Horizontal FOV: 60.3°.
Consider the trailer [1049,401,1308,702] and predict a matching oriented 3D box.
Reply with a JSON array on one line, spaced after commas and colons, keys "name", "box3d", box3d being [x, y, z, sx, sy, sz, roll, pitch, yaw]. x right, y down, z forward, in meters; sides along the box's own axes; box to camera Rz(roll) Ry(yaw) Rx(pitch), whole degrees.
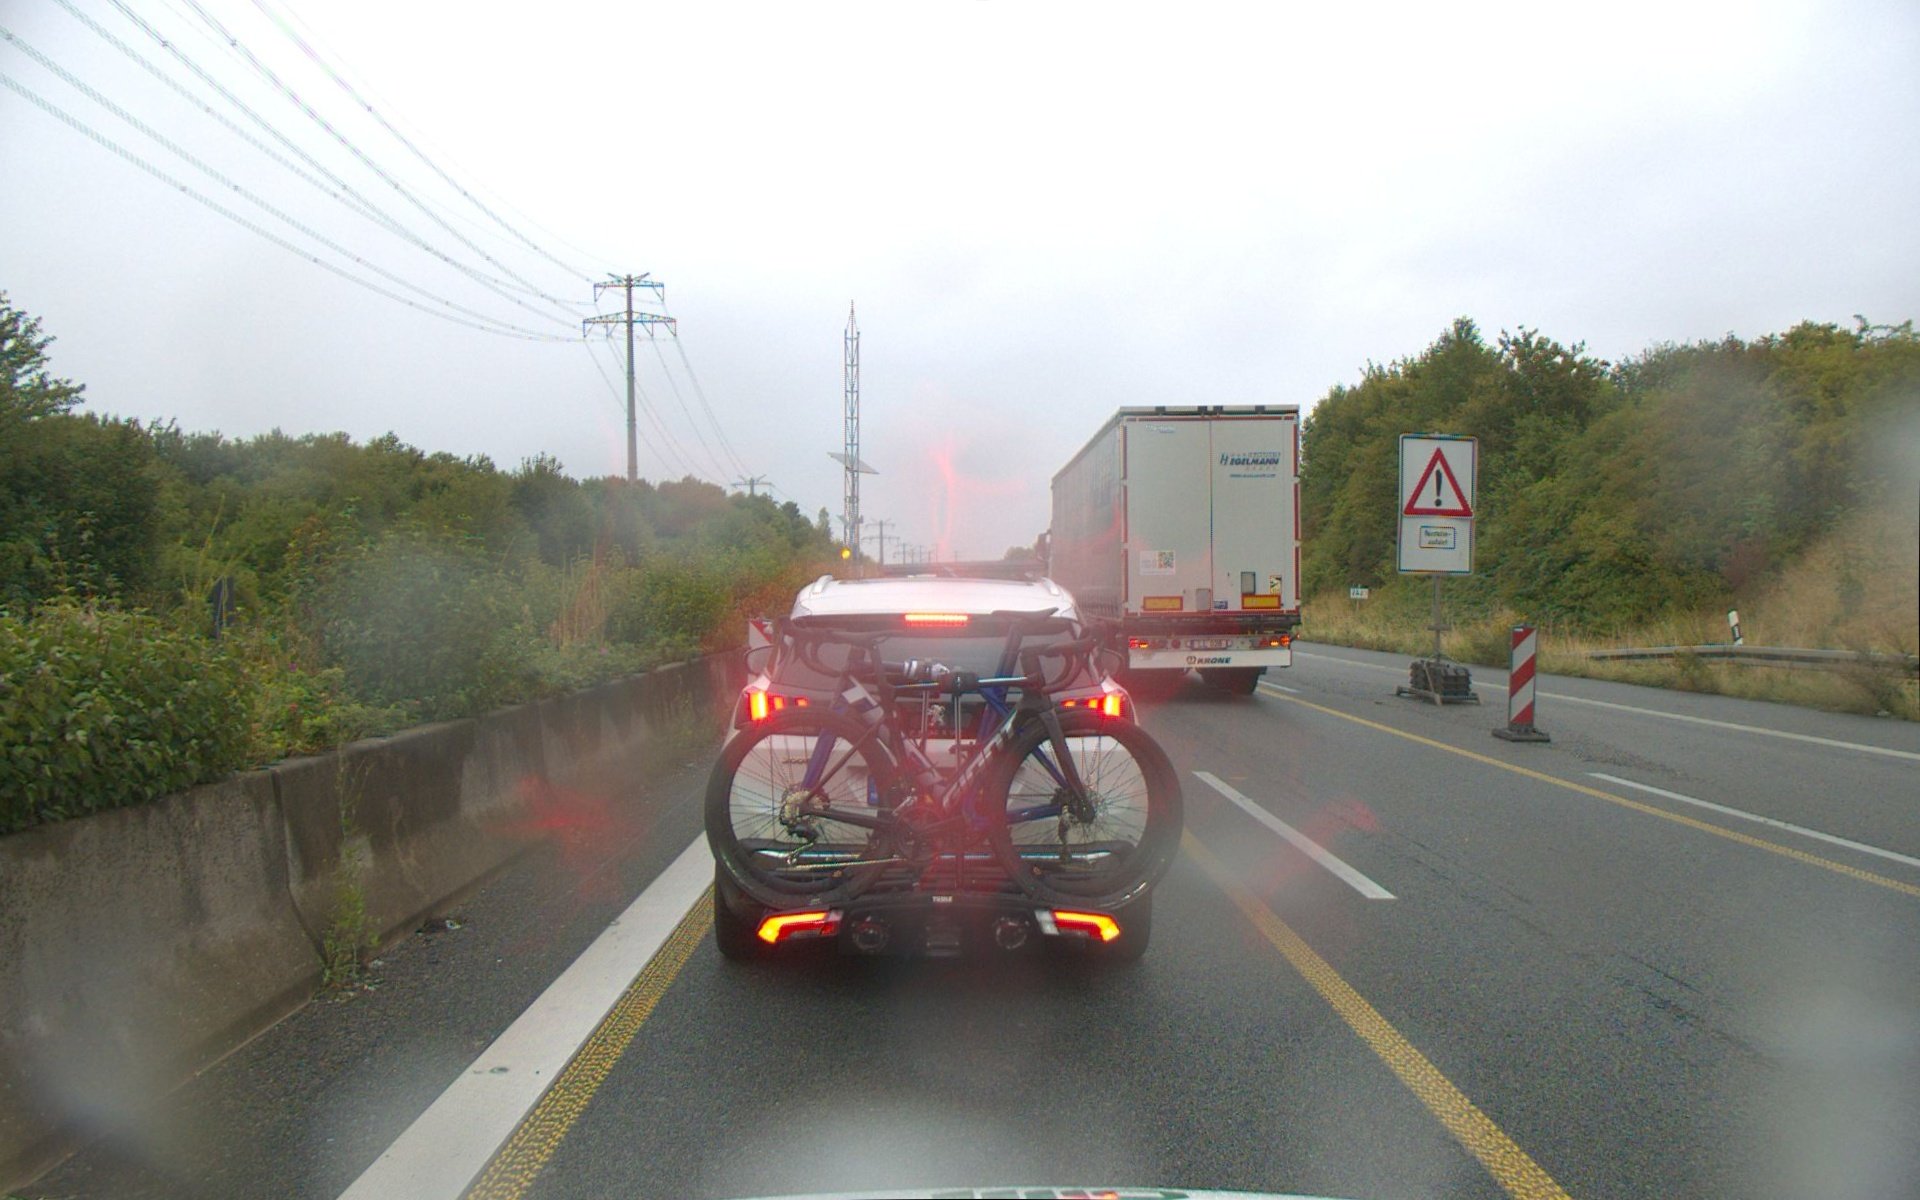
[{"name": "trailer", "box3d": [3.379, -0.699, 29.633, 2.638, 4.148, 13.631, 0, 0, -1]}]

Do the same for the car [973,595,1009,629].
[{"name": "car", "box3d": [1.925, 0.746, 103.313, 2.104, 2.008, 4.000, 0, 1, -1]}]

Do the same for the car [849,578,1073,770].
[{"name": "car", "box3d": [-0.022, 0.593, 15.425, 1.812, 1.557, 3.999, 0, 0, -1]}]

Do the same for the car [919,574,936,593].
[{"name": "car", "box3d": [-3.628, -1.873, 187.412, 1.892, 2.008, 4.000, 0, 1, -1]}]

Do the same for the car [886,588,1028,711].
[{"name": "car", "box3d": [-0.069, 0.626, 23.198, 1.812, 1.557, 3.999, 0, 0, -1]}]

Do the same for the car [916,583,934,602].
[{"name": "car", "box3d": [-3.839, -0.862, 182.028, 1.892, 2.008, 4.000, 0, 1, -1]}]

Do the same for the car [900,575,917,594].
[{"name": "car", "box3d": [-6.849, -2.064, 221.737, 2.212, 2.467, 4.000, 0, 1, -1]}]

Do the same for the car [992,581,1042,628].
[{"name": "car", "box3d": [2.558, 0.161, 74.726, 2.067, 2.008, 4.000, 0, 1, -1]}]

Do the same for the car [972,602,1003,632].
[{"name": "car", "box3d": [1.973, 1.227, 118.855, 2.104, 2.008, 4.000, 0, 1, -1]}]

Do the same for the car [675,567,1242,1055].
[{"name": "car", "box3d": [-0.034, 0.667, 7.686, 1.812, 1.557, 4.768, 0, 0, -1]}]

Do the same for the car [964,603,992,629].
[{"name": "car", "box3d": [1.413, 1.276, 132.771, 2.104, 2.008, 4.000, 0, 1, -1]}]

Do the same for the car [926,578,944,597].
[{"name": "car", "box3d": [-2.635, -1.316, 175.074, 1.892, 1.944, 4.000, 0, 1, -1]}]

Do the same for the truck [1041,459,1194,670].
[{"name": "truck", "box3d": [3.275, -0.711, 35.936, 2.606, 4.148, 6.538, 0, 0, -1]}]

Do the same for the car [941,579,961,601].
[{"name": "car", "box3d": [-0.857, -0.927, 154.336, 1.892, 2.008, 4.000, 0, 1, -1]}]

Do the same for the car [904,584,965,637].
[{"name": "car", "box3d": [-0.784, 0.308, 51.118, 1.812, 1.557, 3.999, 0, 0, -1]}]

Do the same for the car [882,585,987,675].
[{"name": "car", "box3d": [-0.471, 0.510, 30.681, 1.812, 1.557, 3.999, 0, 0, -1]}]
